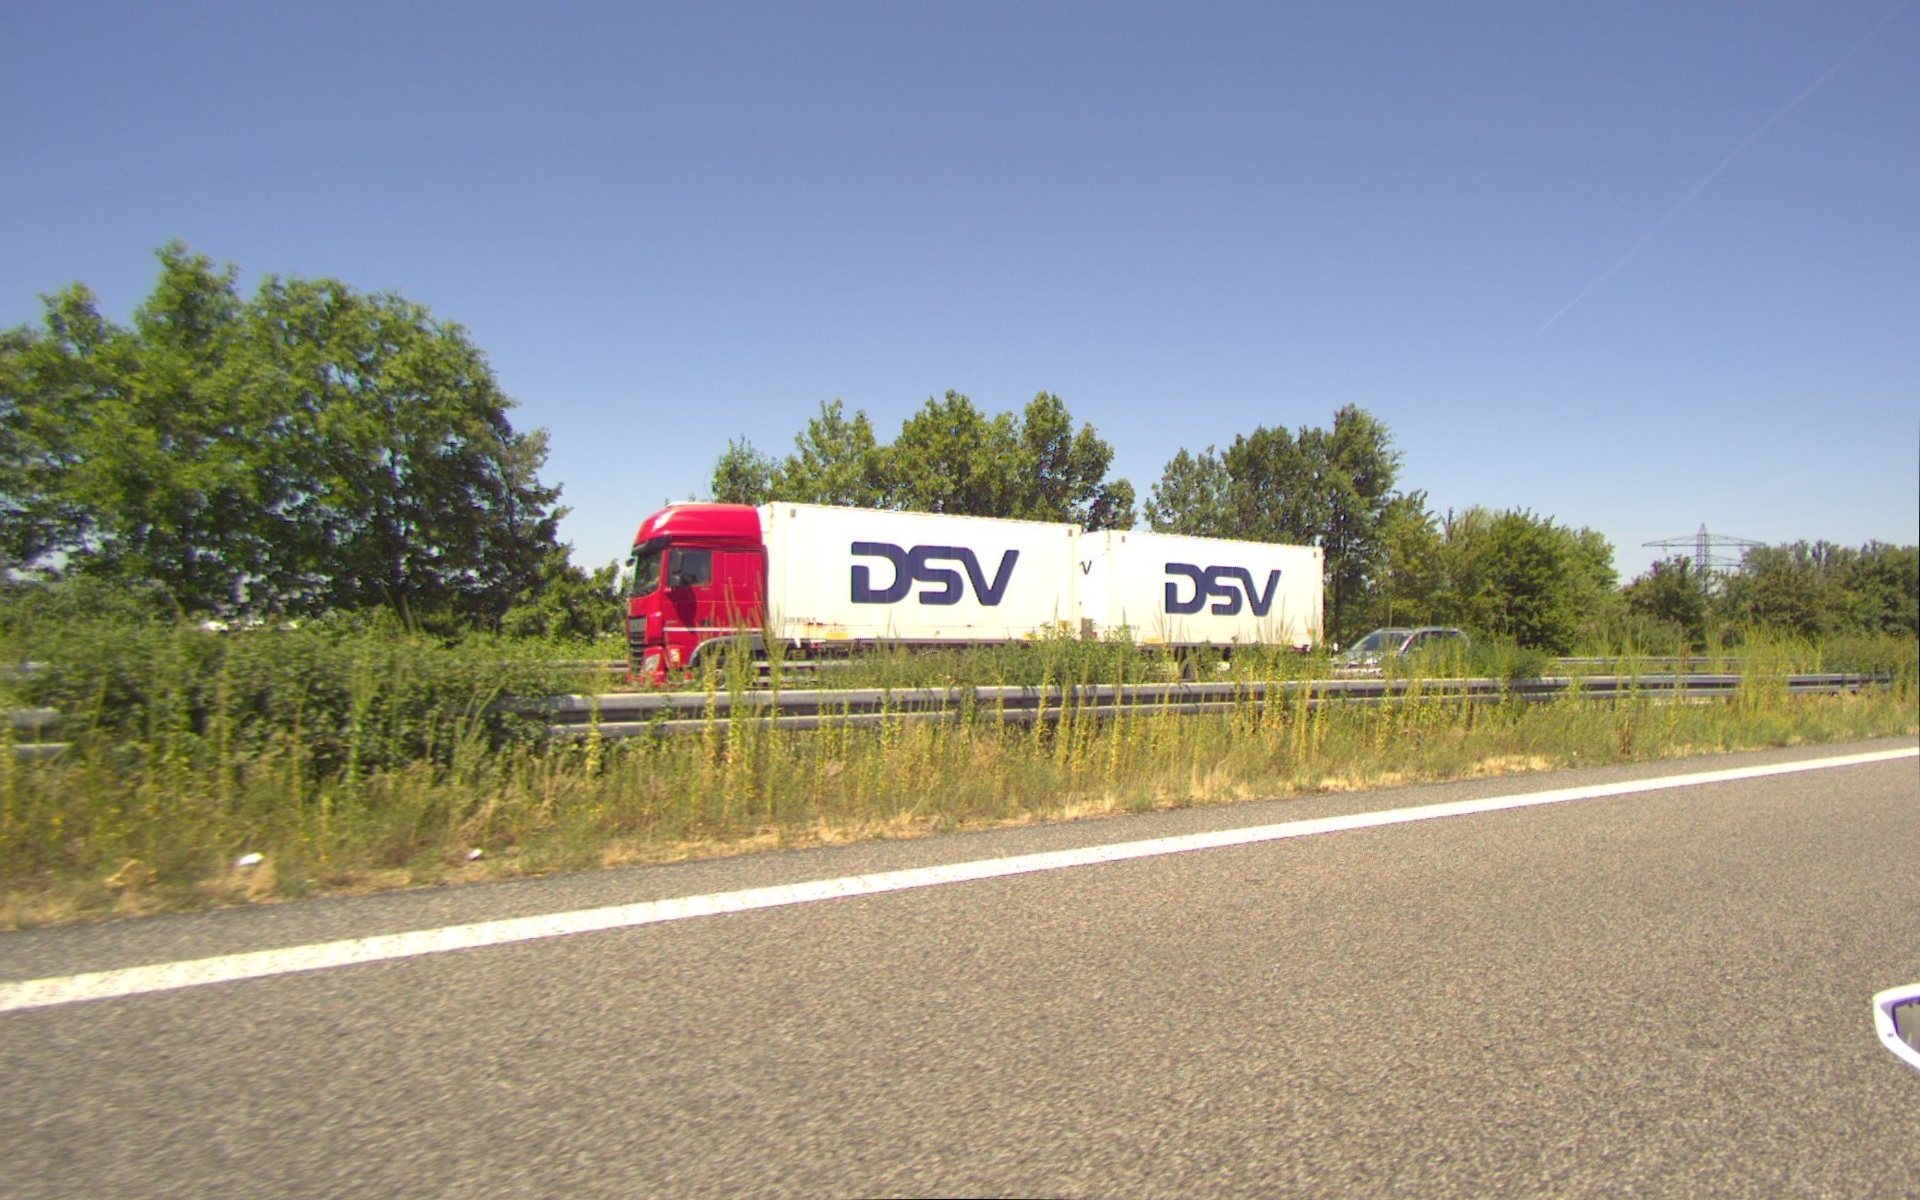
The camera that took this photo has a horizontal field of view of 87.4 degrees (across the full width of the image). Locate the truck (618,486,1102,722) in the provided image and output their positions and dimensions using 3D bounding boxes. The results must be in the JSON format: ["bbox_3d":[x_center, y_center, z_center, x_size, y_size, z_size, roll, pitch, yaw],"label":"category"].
[{"bbox_3d":[-1.942,0.108,22.601,10.500,4.368,3.057,1,1,-30],"label":"truck"}]

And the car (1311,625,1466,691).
[{"bbox_3d":[10.785,1.397,25.200,3.999,1.461,1.596,1,1,-33],"label":"car"}]

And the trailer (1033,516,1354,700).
[{"bbox_3d":[6.554,0.229,27.534,8.926,4.383,3.032,1,0,-31],"label":"trailer"}]
